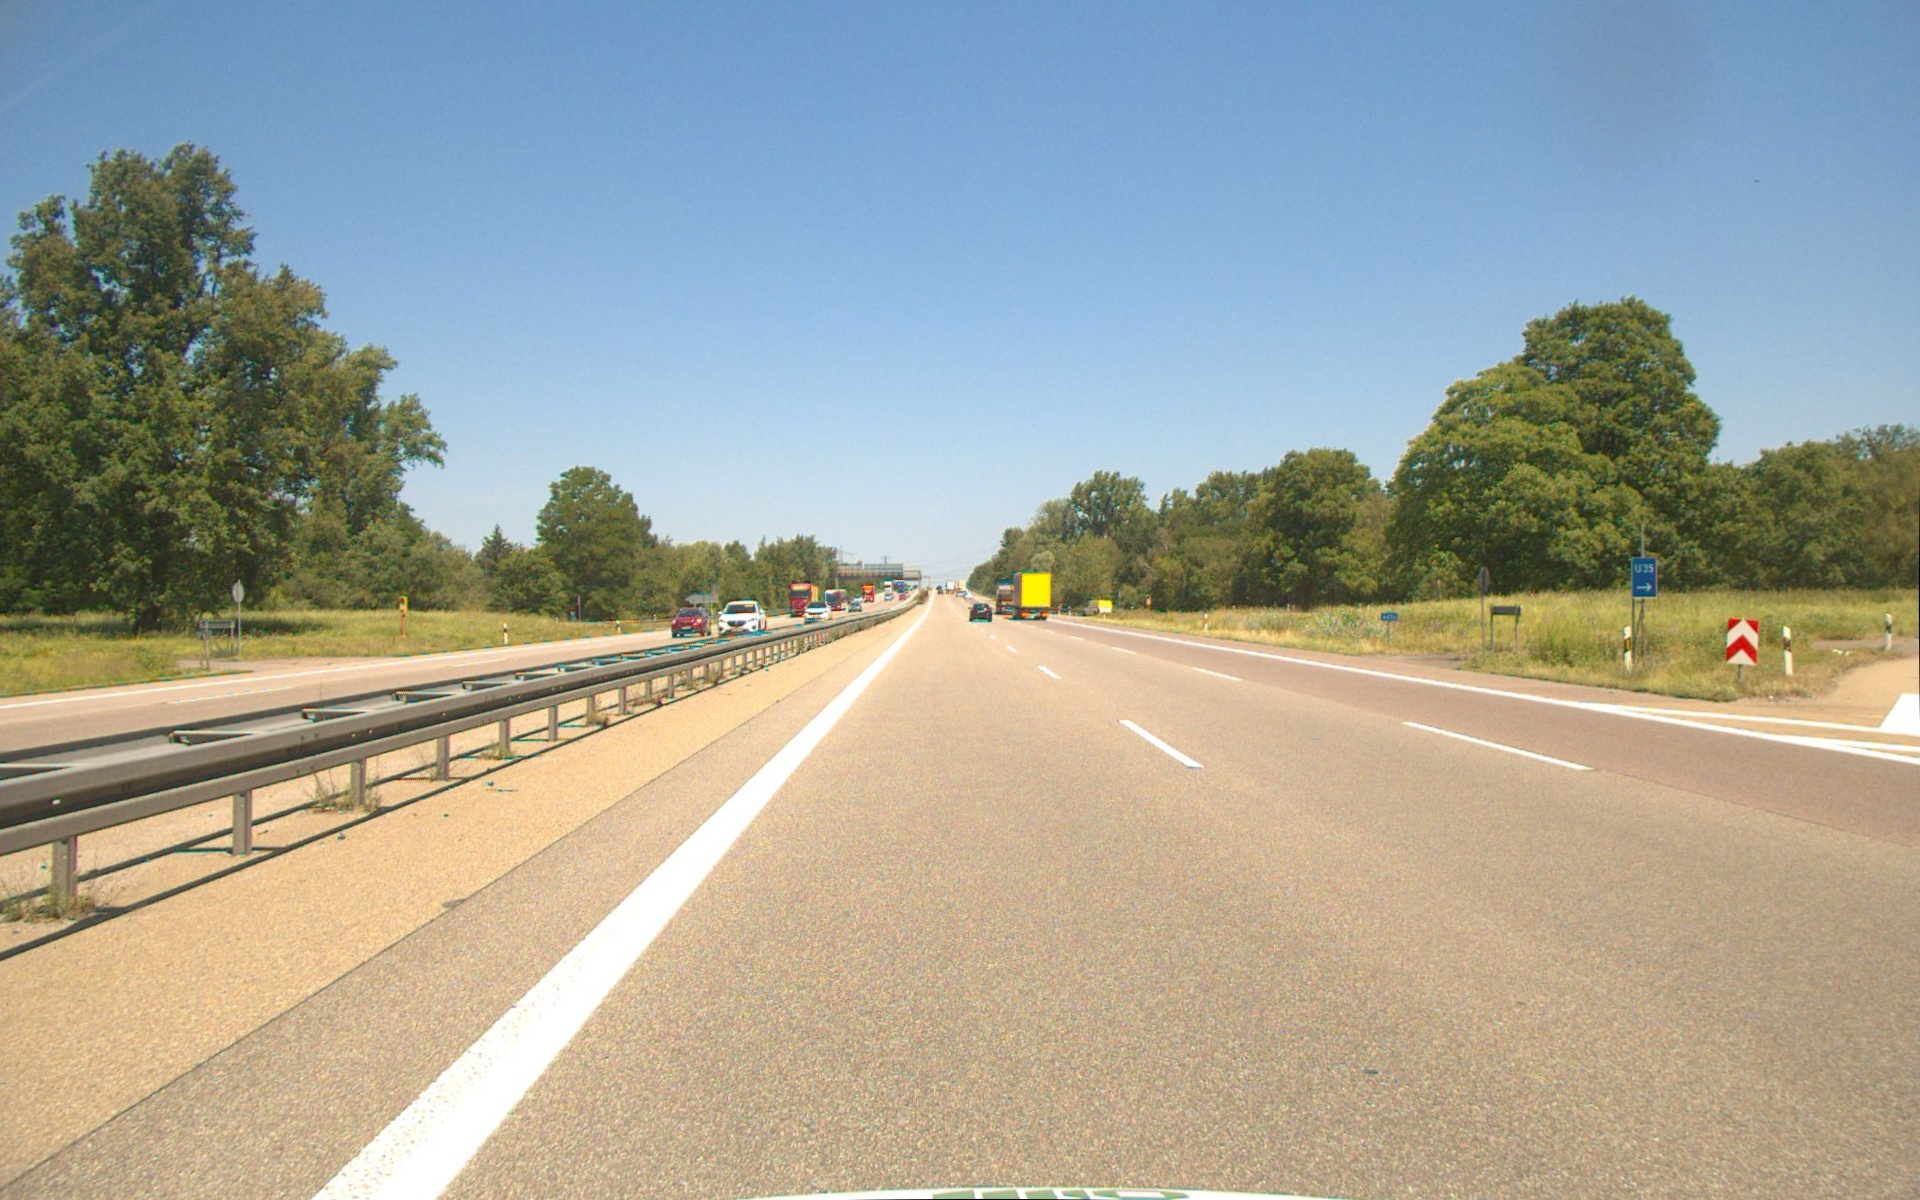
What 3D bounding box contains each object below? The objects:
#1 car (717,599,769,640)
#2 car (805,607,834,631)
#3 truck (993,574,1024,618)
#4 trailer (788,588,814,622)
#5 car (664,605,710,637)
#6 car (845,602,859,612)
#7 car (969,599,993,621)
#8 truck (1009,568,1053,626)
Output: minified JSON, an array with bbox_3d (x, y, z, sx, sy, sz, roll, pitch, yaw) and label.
[{"bbox_3d":[-9.709,0.853,74.182,1.726,1.722,4.818,-1,0,-1],"label":"car"},{"bbox_3d":[-10.737,1.414,126.479,1.774,1.722,5.124,-1,0,-1],"label":"car"},{"bbox_3d":[5.702,-0.476,198.190,3.298,4.966,15.085,1,0,0],"label":"truck"},{"bbox_3d":[-19.347,0.630,201.126,2.550,4.061,6.028,1,0,-1],"label":"trailer"},{"bbox_3d":[-14.447,1.093,87.643,1.726,1.521,4.074,-2,0,-1],"label":"car"},{"bbox_3d":[-15.816,1.047,242.414,1.686,1.404,4.784,-4,-1,-2],"label":"car"},{"bbox_3d":[1.640,0.788,131.733,1.790,1.736,3.999,1,0,-1],"label":"car"},{"bbox_3d":[6.354,-0.292,150.183,3.308,4.966,15.085,1,0,0],"label":"truck"}]
